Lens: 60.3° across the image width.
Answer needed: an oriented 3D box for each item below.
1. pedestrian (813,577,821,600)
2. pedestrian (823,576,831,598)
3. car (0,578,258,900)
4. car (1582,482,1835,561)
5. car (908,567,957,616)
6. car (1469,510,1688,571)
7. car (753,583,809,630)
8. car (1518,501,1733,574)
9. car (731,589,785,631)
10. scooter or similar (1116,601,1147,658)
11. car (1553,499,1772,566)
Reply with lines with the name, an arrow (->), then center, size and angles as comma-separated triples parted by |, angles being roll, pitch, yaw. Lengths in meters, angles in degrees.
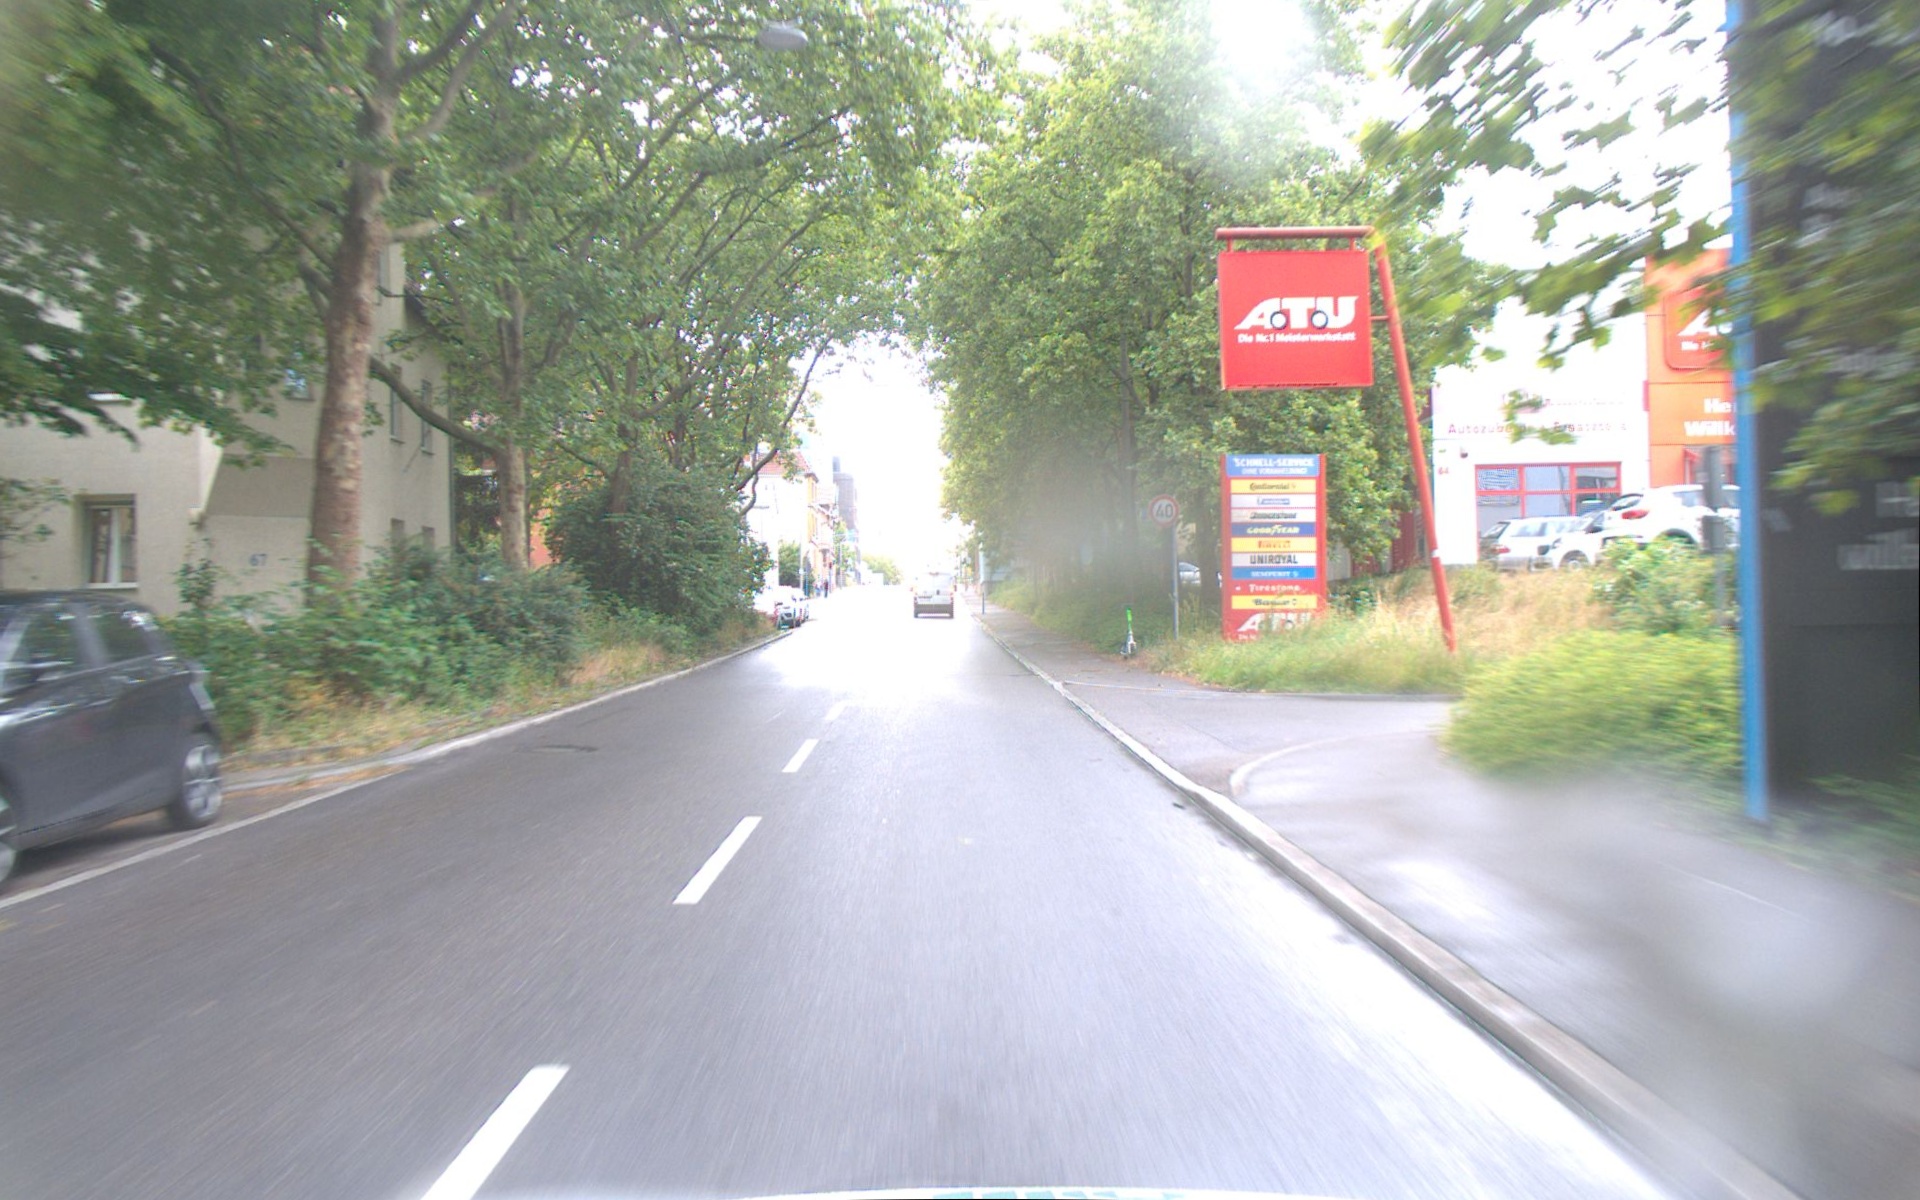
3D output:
pedestrian -> -13.117, -1.072, 151.670 | 0.657, 2.049, 0.942 | 0, 0, 3
pedestrian -> -12.198, -1.193, 151.660 | 0.657, 2.049, 0.942 | 0, 0, 3
car -> -5.546, 0.739, 9.125 | 1.615, 1.564, 4.017 | -4, 0, -2
car -> 14.359, -1.488, 31.885 | 4.016, 1.400, 1.903 | 0, 0, 0
car -> -1.349, -0.385, 82.229 | 2.288, 2.270, 3.999 | -2, -1, 0
car -> 14.591, -1.386, 39.156 | 4.516, 1.357, 1.800 | 0, 0, -1
car -> -6.859, 0.221, 63.703 | 1.657, 1.568, 4.117 | -3, 1, -1
car -> 14.802, -1.385, 36.939 | 4.016, 1.492, 1.884 | -1, 0, 0
car -> -7.094, 0.327, 58.269 | 1.606, 1.397, 3.757 | 0, 0, -3
scooter or similar -> 3.579, 0.626, 34.555 | 0.417, 1.162, 1.528 | 1, -2, -3
car -> 14.686, -1.394, 34.709 | 3.838, 1.316, 1.833 | 0, 0, 0
